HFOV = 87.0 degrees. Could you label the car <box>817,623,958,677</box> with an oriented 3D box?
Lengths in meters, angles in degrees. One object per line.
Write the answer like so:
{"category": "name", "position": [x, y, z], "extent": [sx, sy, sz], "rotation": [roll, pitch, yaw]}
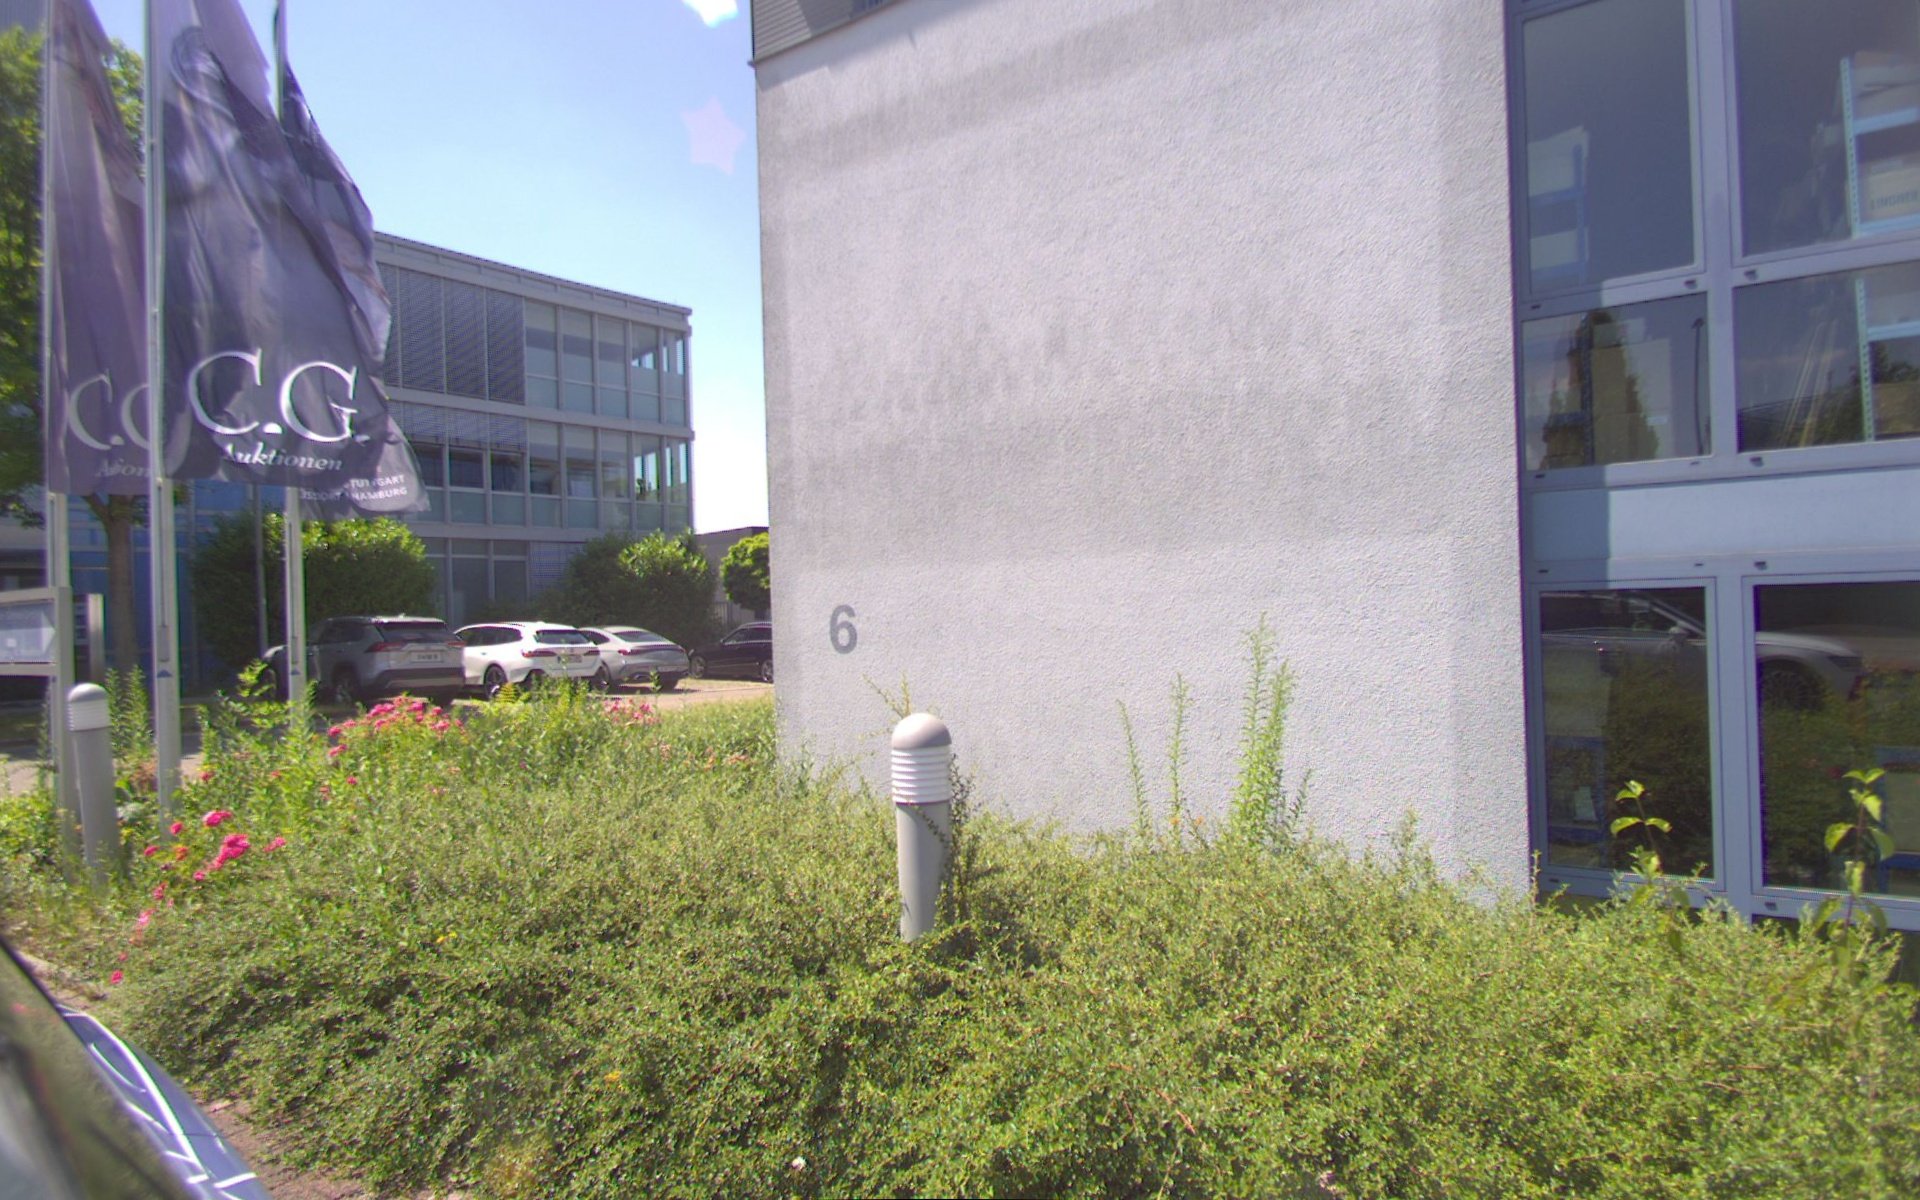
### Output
{"category": "car", "position": [-2.212, 1.452, 30.260], "extent": [4.168, 1.435, 1.729], "rotation": [0, -1, 40]}

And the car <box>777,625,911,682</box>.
{"category": "car", "position": [-3.303, 1.444, 28.234], "extent": [1.725, 1.435, 4.178], "rotation": [1, -1, -40]}

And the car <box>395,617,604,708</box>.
{"category": "car", "position": [-9.264, 1.198, 20.313], "extent": [4.156, 1.650, 1.814], "rotation": [-1, -2, 31]}

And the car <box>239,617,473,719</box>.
{"category": "car", "position": [-10.942, 1.168, 18.296], "extent": [4.153, 1.650, 1.815], "rotation": [-1, -2, 29]}

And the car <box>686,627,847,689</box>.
{"category": "car", "position": [-4.993, 1.416, 25.861], "extent": [4.165, 1.435, 1.731], "rotation": [-1, -1, 37]}

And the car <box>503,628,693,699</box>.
{"category": "car", "position": [-8.032, 1.349, 22.347], "extent": [4.156, 1.411, 1.734], "rotation": [-1, -2, 31]}
